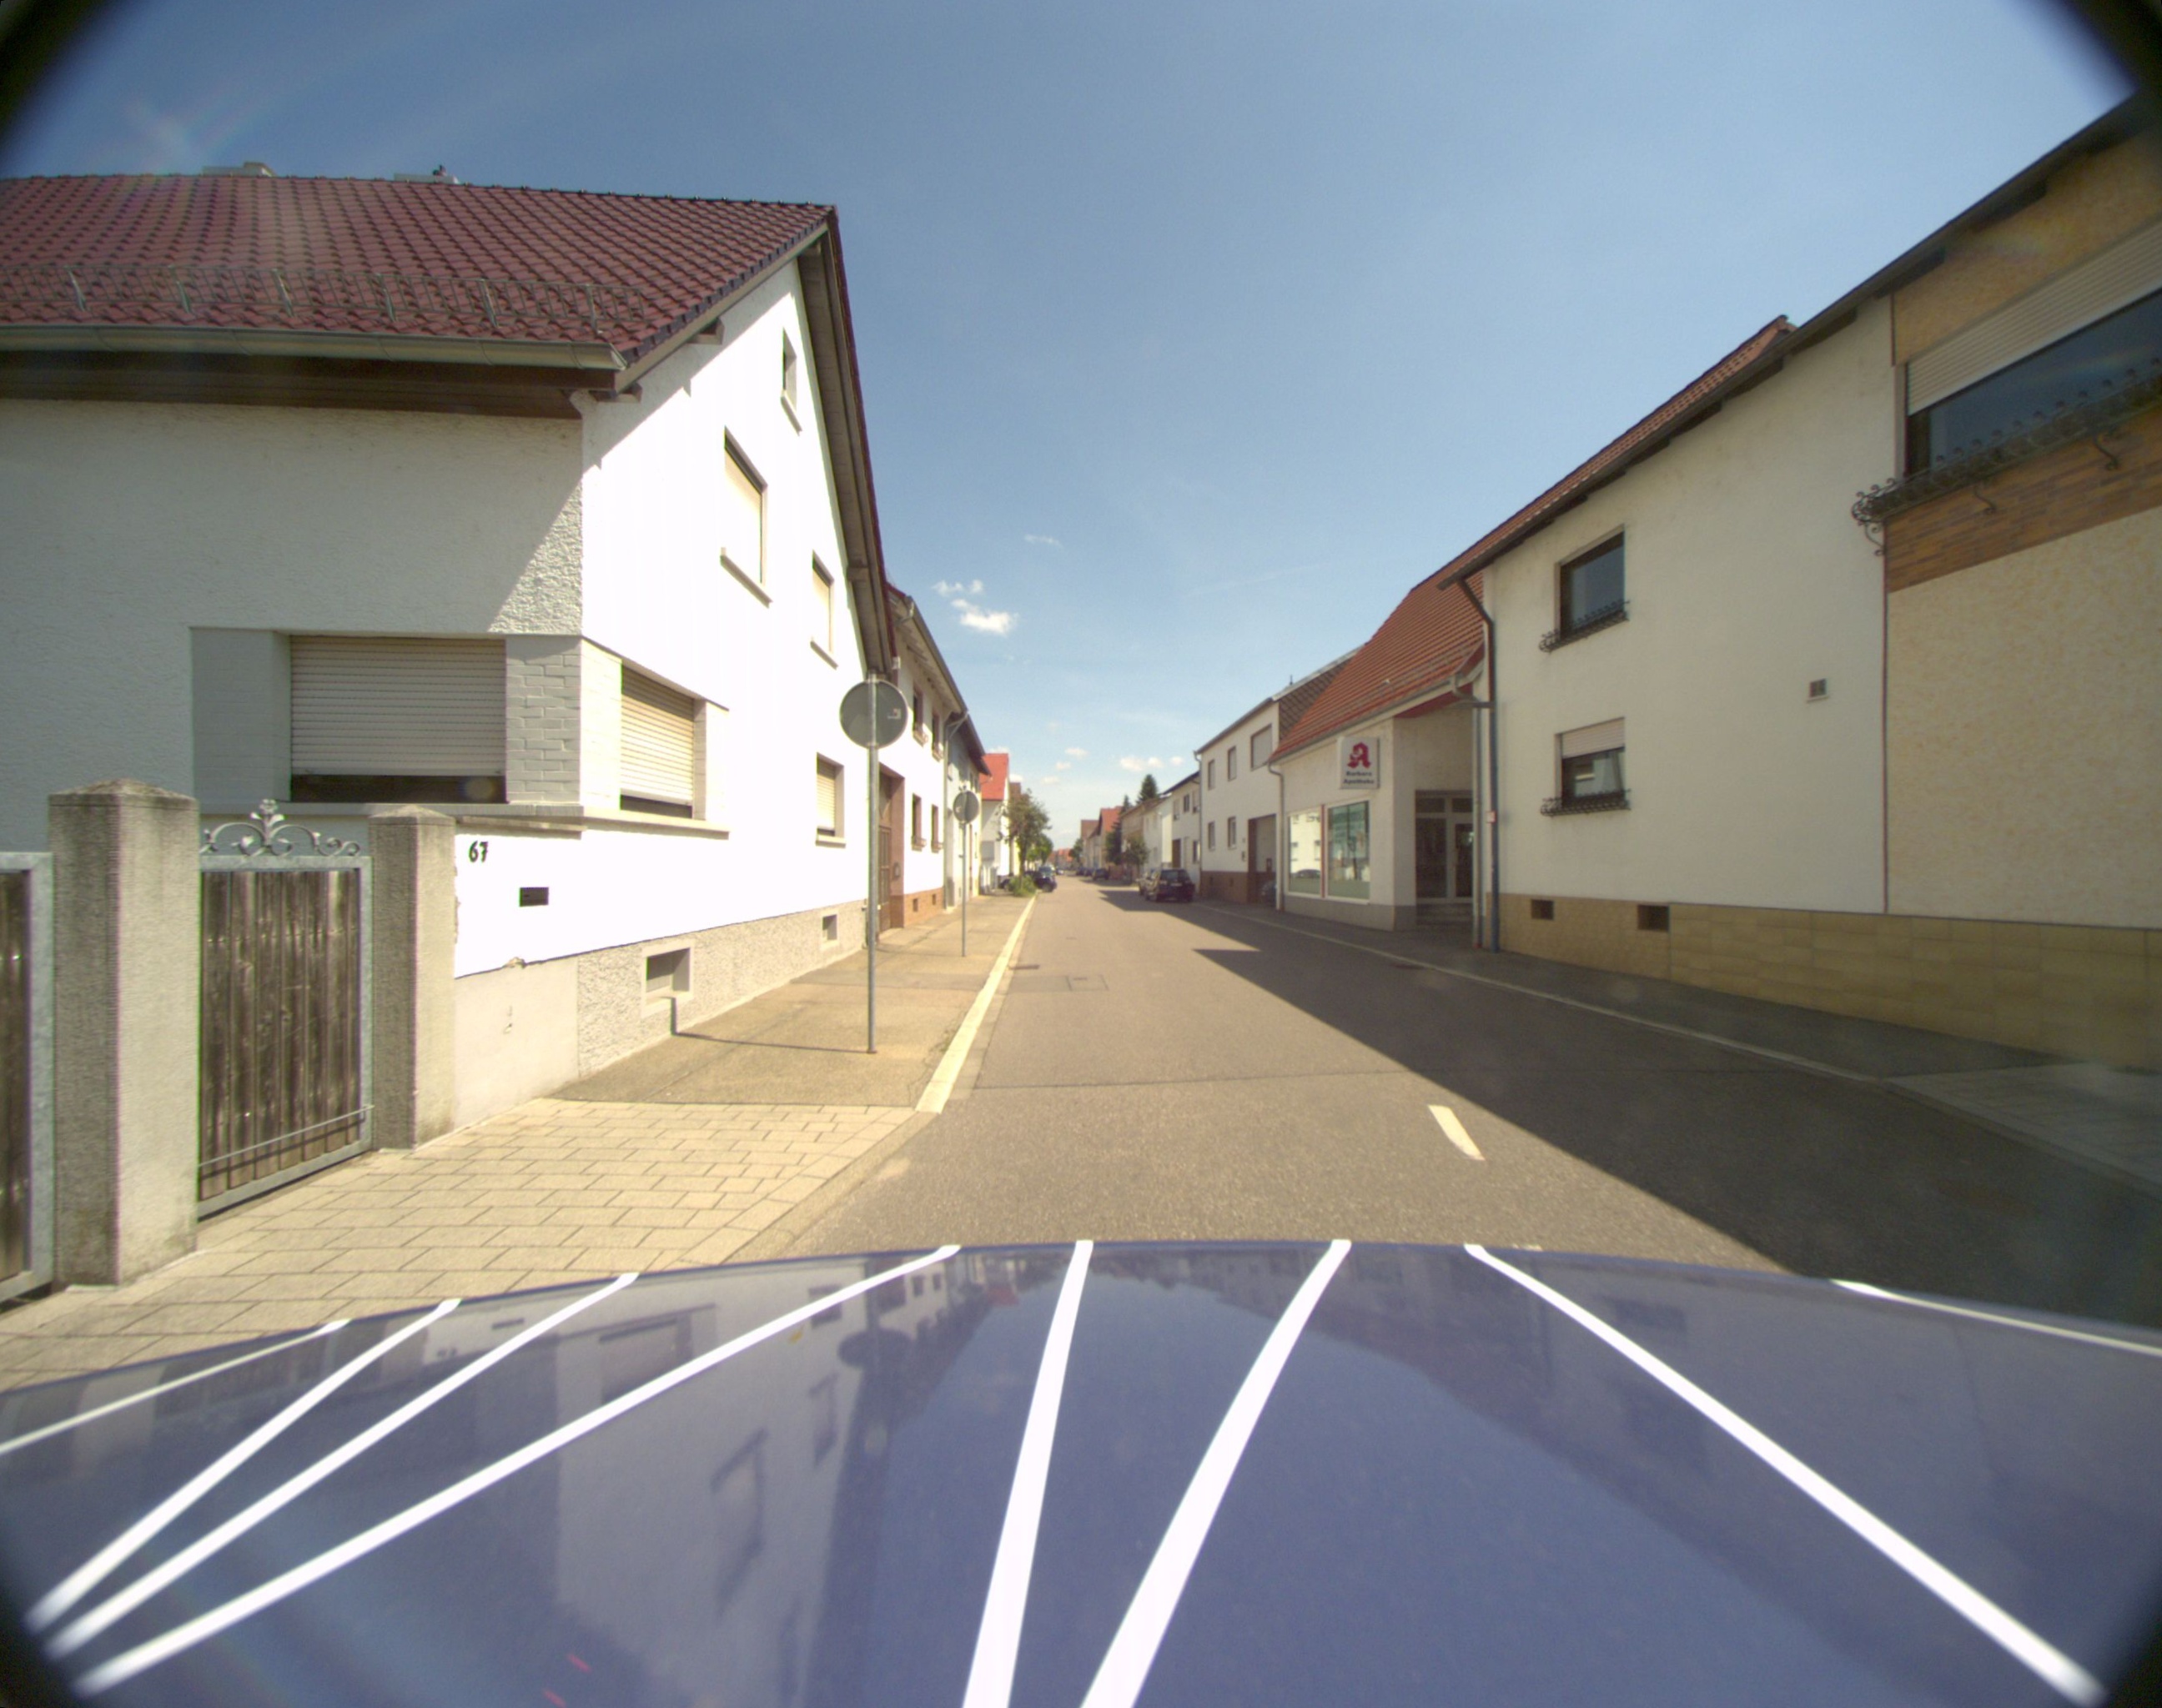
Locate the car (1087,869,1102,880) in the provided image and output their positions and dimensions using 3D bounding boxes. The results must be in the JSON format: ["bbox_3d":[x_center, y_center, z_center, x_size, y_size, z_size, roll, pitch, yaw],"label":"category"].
[{"bbox_3d":[1.992,3.078,113.356,1.855,1.542,3.999,0,-1,-4],"label":"car"}]

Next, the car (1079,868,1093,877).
[{"bbox_3d":[0.873,3.230,130.824,1.999,1.570,3.999,0,-1,-4],"label":"car"}]

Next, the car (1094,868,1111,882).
[{"bbox_3d":[2.536,2.522,92.047,1.852,1.688,4.000,0,-1,-2],"label":"car"}]

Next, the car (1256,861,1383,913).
[{"bbox_3d":[8.668,1.186,27.813,3.997,1.708,1.814,-2,-1,-1],"label":"car"}]

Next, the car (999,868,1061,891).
[{"bbox_3d":[-3.252,1.635,49.117,3.814,1.420,1.728,0,-1,4],"label":"car"}]

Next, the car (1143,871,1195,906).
[{"bbox_3d":[4.076,1.567,35.849,1.752,1.556,3.954,0,-1,-4],"label":"car"}]

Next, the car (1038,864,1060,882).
[{"bbox_3d":[-3.130,1.828,74.116,1.999,1.695,4.000,0,-1,-1],"label":"car"}]

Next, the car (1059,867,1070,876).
[{"bbox_3d":[-2.923,3.129,134.547,1.958,1.521,4.000,0,-1,-1],"label":"car"}]

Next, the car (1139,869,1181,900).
[{"bbox_3d":[4.365,1.671,42.698,1.759,1.608,4.120,0,-1,-2],"label":"car"}]

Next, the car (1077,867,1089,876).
[{"bbox_3d":[0.327,3.218,136.848,1.999,1.570,4.000,0,-1,-2],"label":"car"}]
